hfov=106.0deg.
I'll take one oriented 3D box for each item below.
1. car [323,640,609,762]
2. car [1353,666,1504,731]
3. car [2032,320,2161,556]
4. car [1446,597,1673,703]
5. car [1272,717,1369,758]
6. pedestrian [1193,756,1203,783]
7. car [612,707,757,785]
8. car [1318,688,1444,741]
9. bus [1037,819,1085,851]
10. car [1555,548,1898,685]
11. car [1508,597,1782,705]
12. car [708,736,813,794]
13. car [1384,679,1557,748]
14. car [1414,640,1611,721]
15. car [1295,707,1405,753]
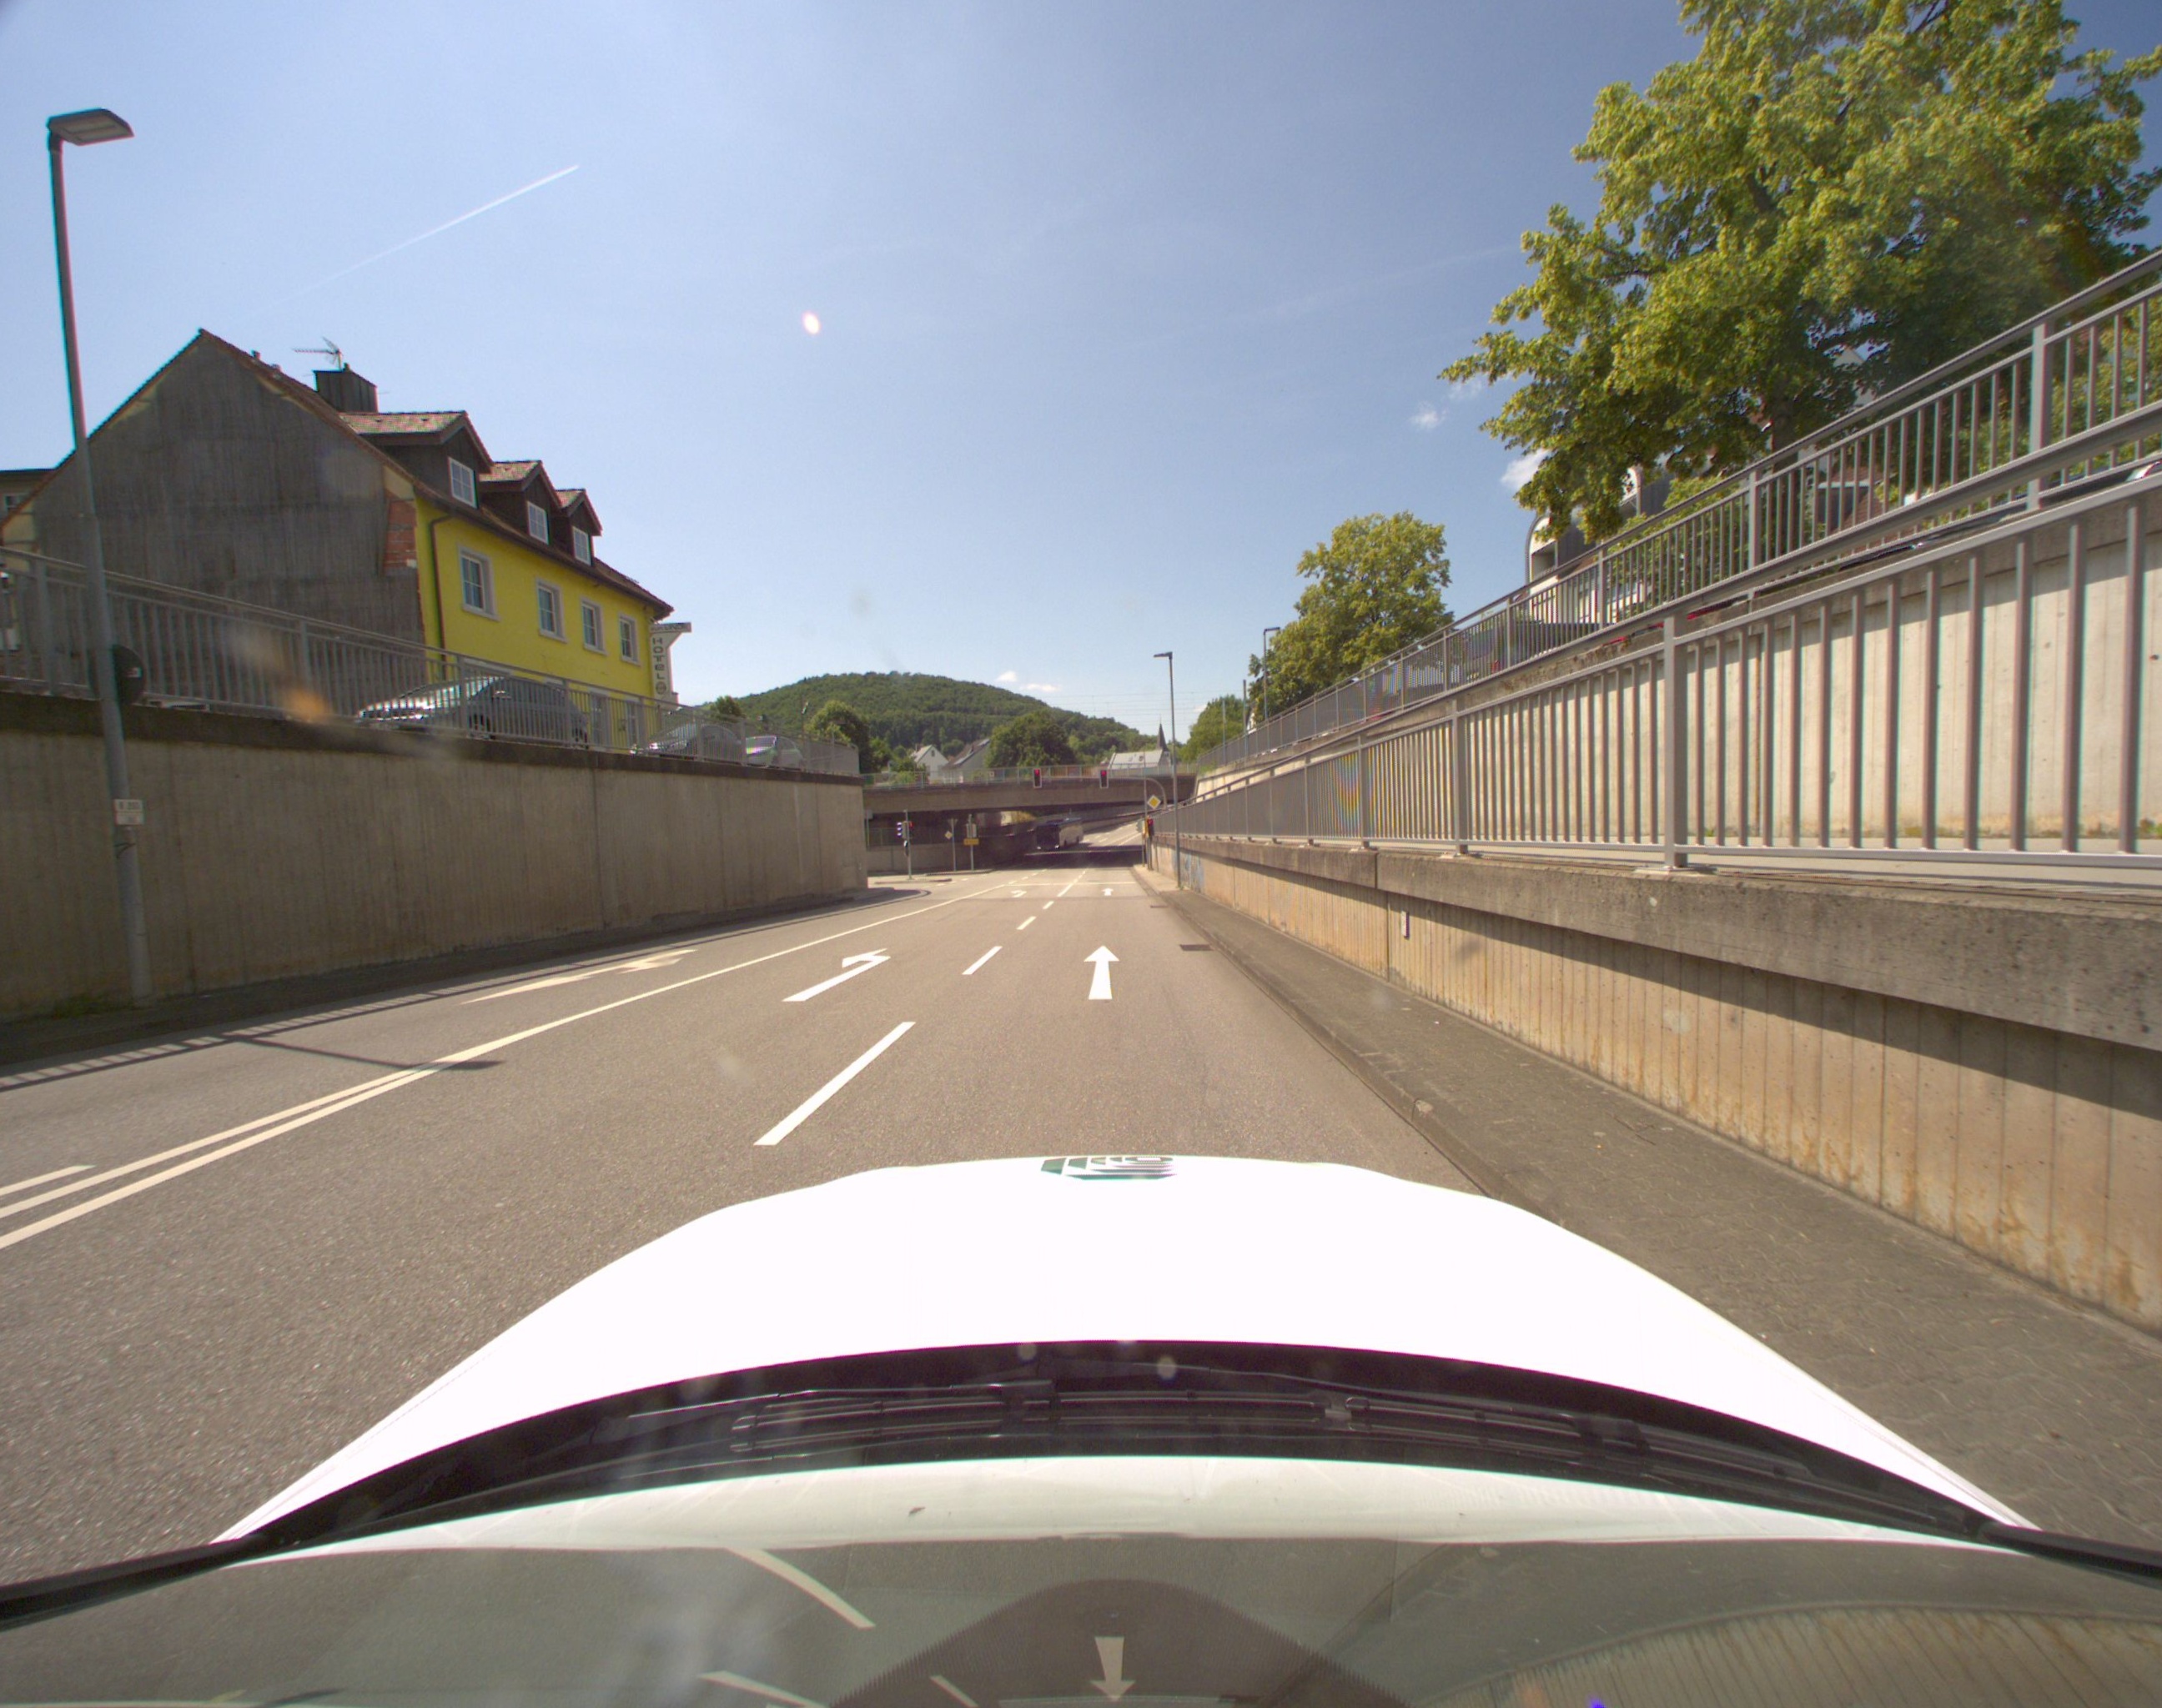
[{"bbox_3d":[-10.858,-2.638,14.888,1.793,1.524,4.394,-2,2,0],"label":"car"},{"bbox_3d":[10.724,-4.804,25.345,3.968,1.567,1.772,-1,0,5],"label":"car"},{"bbox_3d":[10.327,-3.416,6.176,3.968,1.486,1.772,-1,0,5],"label":"car"},{"bbox_3d":[10.529,-4.489,18.159,3.968,1.770,1.772,-1,0,5],"label":"car"},{"bbox_3d":[10.925,-5.309,37.327,3.968,1.486,1.772,-1,0,5],"label":"car"},{"bbox_3d":[9.384,-6.754,65.269,0.538,2.081,0.534,-3,0,-5],"label":"pedestrian"},{"bbox_3d":[-10.710,-2.873,22.370,1.816,1.705,4.223,-2,2,0],"label":"car"},{"bbox_3d":[10.840,-5.043,29.671,3.968,1.486,1.772,-1,0,5],"label":"car"},{"bbox_3d":[-2.118,-2.259,91.633,2.564,3.172,12.420,-1,2,12],"label":"bus"},{"bbox_3d":[10.049,-3.694,12.959,3.968,1.486,1.772,-1,0,5],"label":"car"},{"bbox_3d":[10.639,-3.826,15.610,3.968,1.486,1.772,-1,0,5],"label":"car"},{"bbox_3d":[-10.825,-2.963,27.822,1.896,1.667,4.001,-2,2,0],"label":"car"},{"bbox_3d":[10.766,-3.880,22.732,3.968,1.486,1.772,-1,0,5],"label":"car"},{"bbox_3d":[10.639,-4.272,20.304,3.968,1.486,1.772,-1,0,5],"label":"car"},{"bbox_3d":[10.949,-5.032,33.344,3.968,1.486,1.772,-1,0,5],"label":"car"}]
